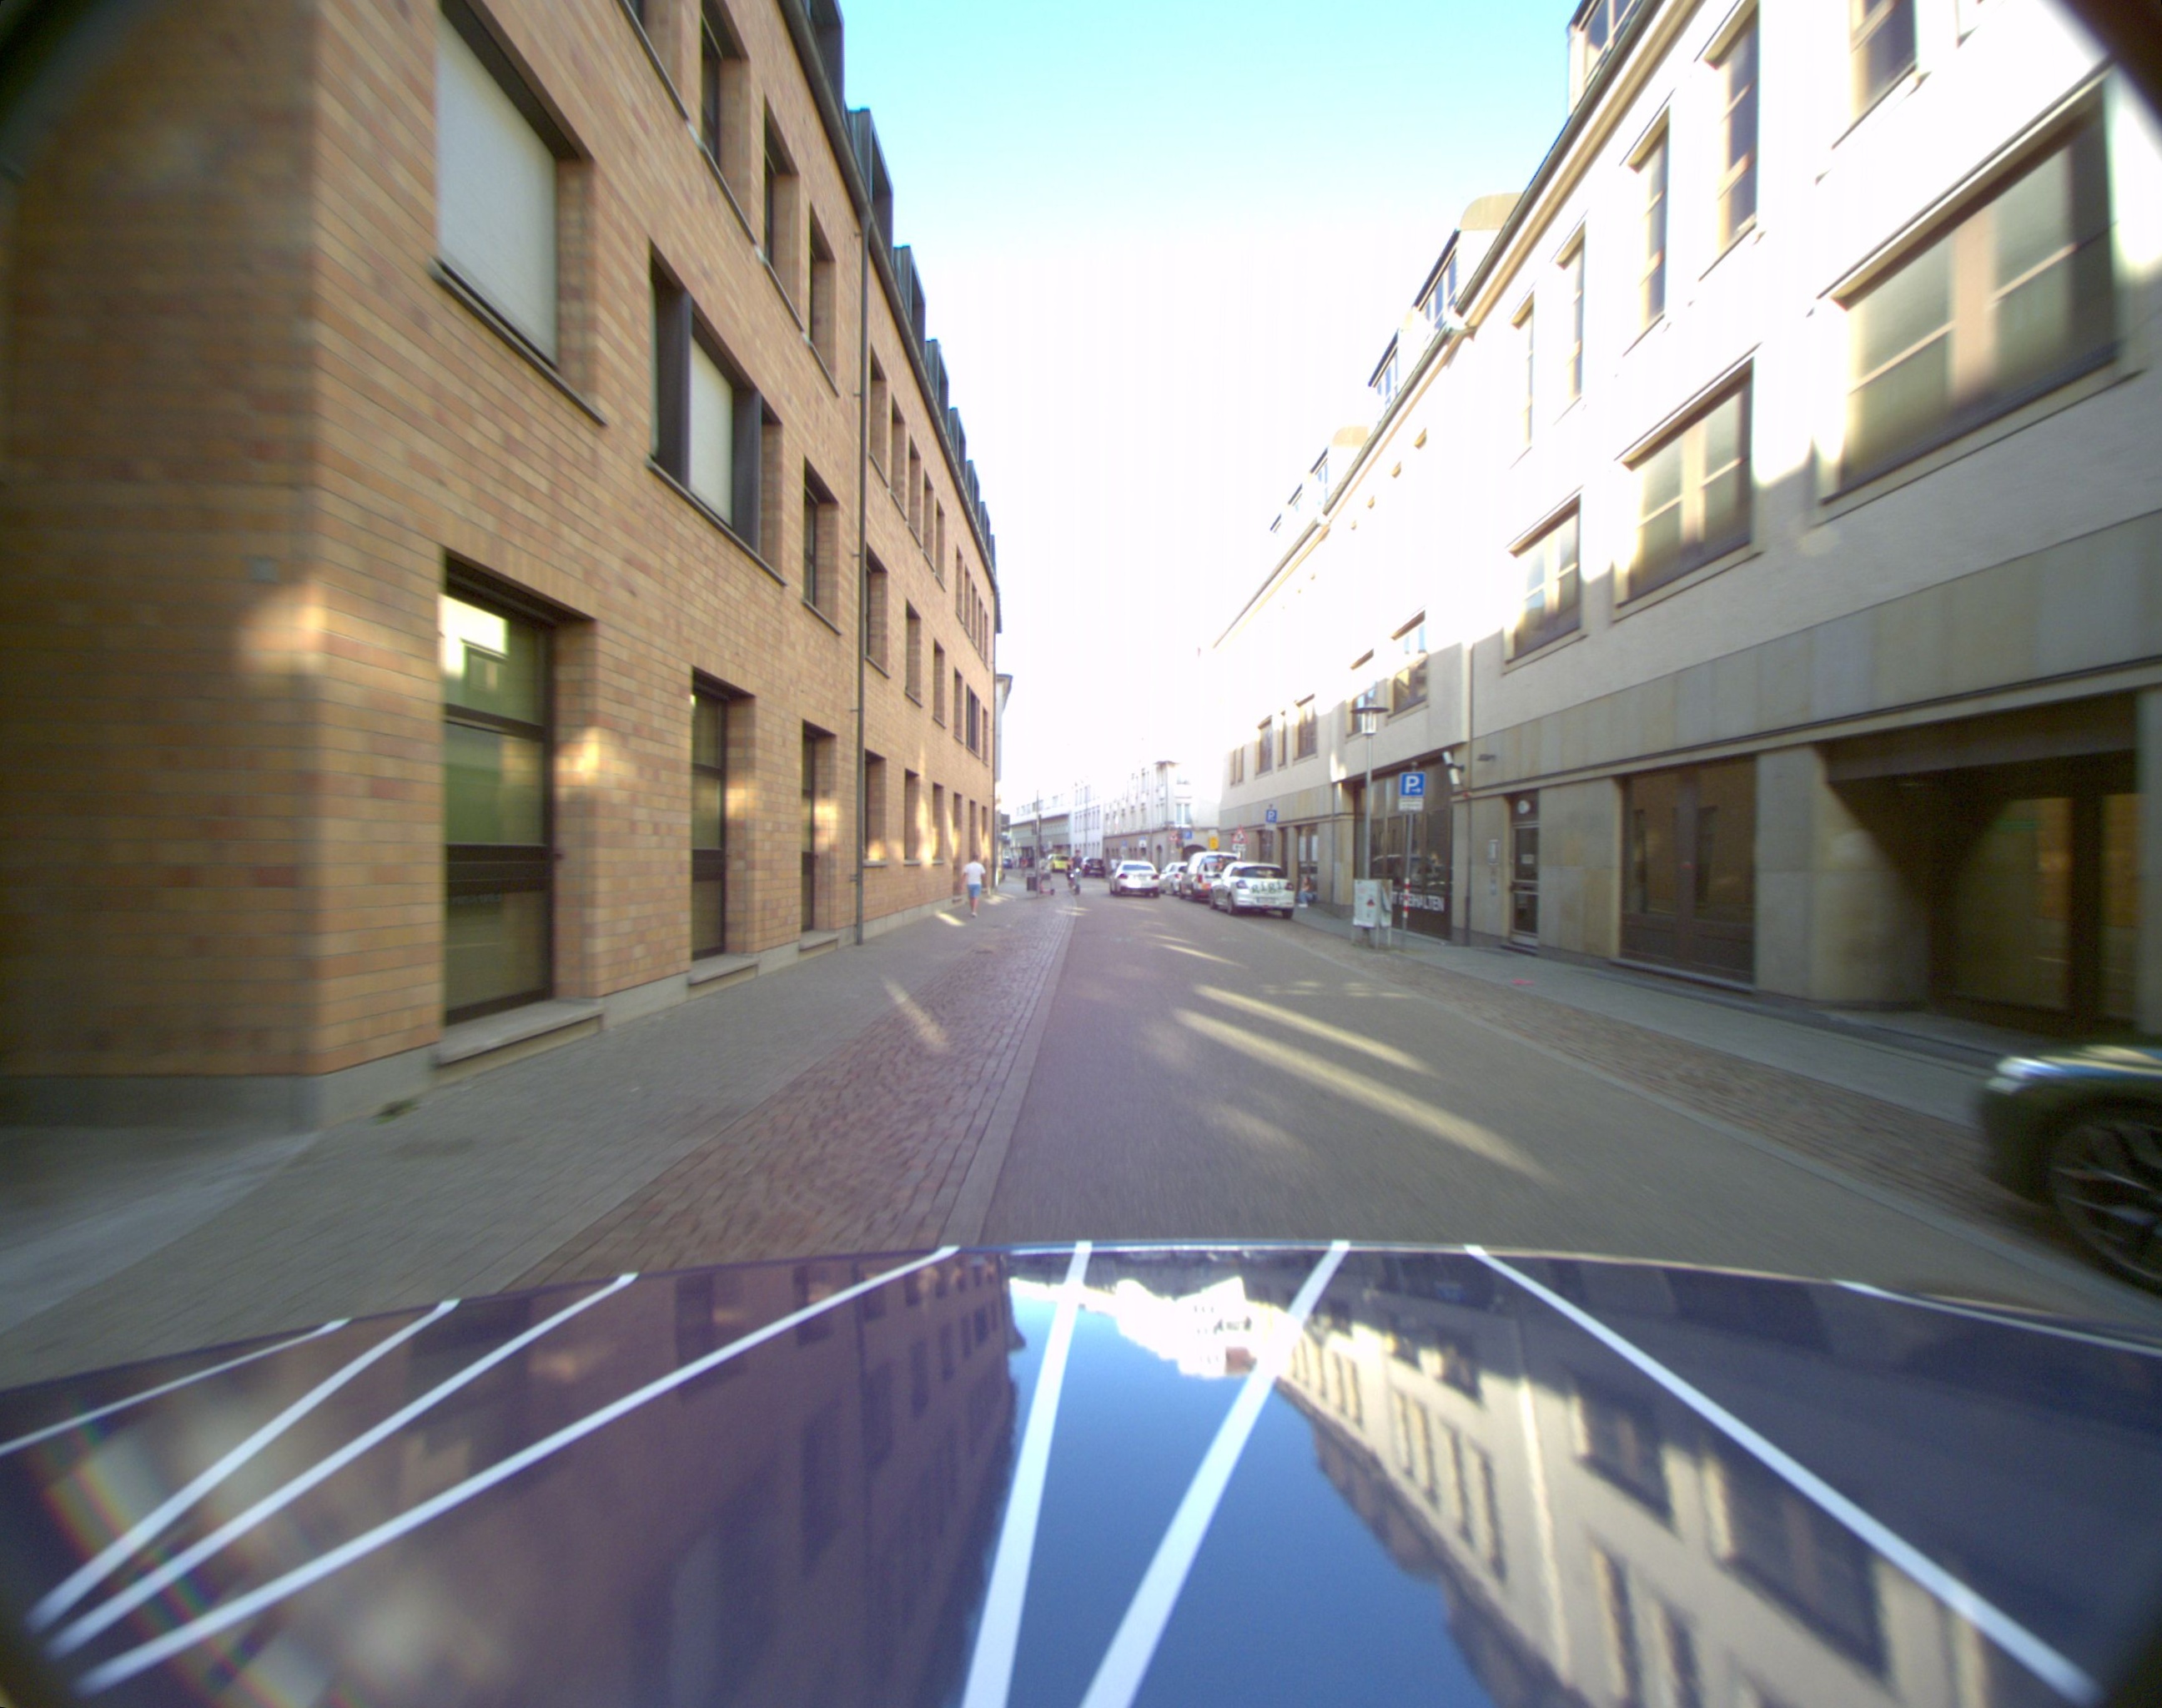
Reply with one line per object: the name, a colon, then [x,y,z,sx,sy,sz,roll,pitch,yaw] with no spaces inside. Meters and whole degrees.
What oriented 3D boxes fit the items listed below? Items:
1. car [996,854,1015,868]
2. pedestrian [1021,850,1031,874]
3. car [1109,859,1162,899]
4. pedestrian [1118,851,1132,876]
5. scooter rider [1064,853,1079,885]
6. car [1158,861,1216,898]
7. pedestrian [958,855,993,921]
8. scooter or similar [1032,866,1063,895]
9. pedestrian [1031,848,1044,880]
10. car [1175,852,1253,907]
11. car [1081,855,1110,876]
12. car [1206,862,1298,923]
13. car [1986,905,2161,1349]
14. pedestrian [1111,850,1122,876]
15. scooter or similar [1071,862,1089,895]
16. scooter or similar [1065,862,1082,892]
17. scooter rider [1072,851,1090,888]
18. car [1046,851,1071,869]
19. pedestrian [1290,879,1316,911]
car: [-9.503,0.916,95.387,1.858,1.583,3.802,1,-2,-15]
pedestrian: [-4.510,0.667,62.696,0.716,2.002,0.698,1,1,-11]
car: [2.184,0.985,31.390,1.719,1.509,4.159,1,0,-2]
pedestrian: [3.550,0.743,61.106,0.938,2.002,0.698,1,1,-11]
scooter rider: [-0.444,0.711,36.662,0.592,1.500,0.599,-2,1,-10]
car: [4.688,1.084,34.161,1.742,1.483,3.797,2,0,-5]
pedestrian: [-2.822,0.884,20.412,0.762,1.706,0.821,2,0,1]
scooter or similar: [-1.430,1.118,32.537,0.537,1.228,1.422,0,0,38]
pedestrian: [-2.754,0.619,48.389,0.716,2.002,0.698,1,1,-11]
car: [4.839,0.876,28.370,1.904,1.847,4.733,2,0,-1]
car: [1.174,0.952,64.286,1.889,1.694,3.997,0,0,-8]
car: [4.869,1.043,22.179,1.674,1.513,3.775,3,0,-2]
car: [4.683,1.019,0.797,1.894,1.521,4.728,1,1,2]
pedestrian: [2.826,0.716,60.718,0.716,2.002,0.698,1,1,-11]
scooter or similar: [-0.051,1.060,33.100,0.524,1.388,1.554,1,0,-10]
scooter or similar: [-0.366,1.074,36.432,0.550,1.388,1.554,1,0,-10]
scooter rider: [-0.018,0.660,33.051,0.648,1.584,0.599,-2,1,-10]
car: [-2.385,0.583,80.647,1.890,1.863,3.995,1,0,-13]
pedestrian: [7.315,1.355,25.037,0.657,1.029,0.617,0,0,-5]
